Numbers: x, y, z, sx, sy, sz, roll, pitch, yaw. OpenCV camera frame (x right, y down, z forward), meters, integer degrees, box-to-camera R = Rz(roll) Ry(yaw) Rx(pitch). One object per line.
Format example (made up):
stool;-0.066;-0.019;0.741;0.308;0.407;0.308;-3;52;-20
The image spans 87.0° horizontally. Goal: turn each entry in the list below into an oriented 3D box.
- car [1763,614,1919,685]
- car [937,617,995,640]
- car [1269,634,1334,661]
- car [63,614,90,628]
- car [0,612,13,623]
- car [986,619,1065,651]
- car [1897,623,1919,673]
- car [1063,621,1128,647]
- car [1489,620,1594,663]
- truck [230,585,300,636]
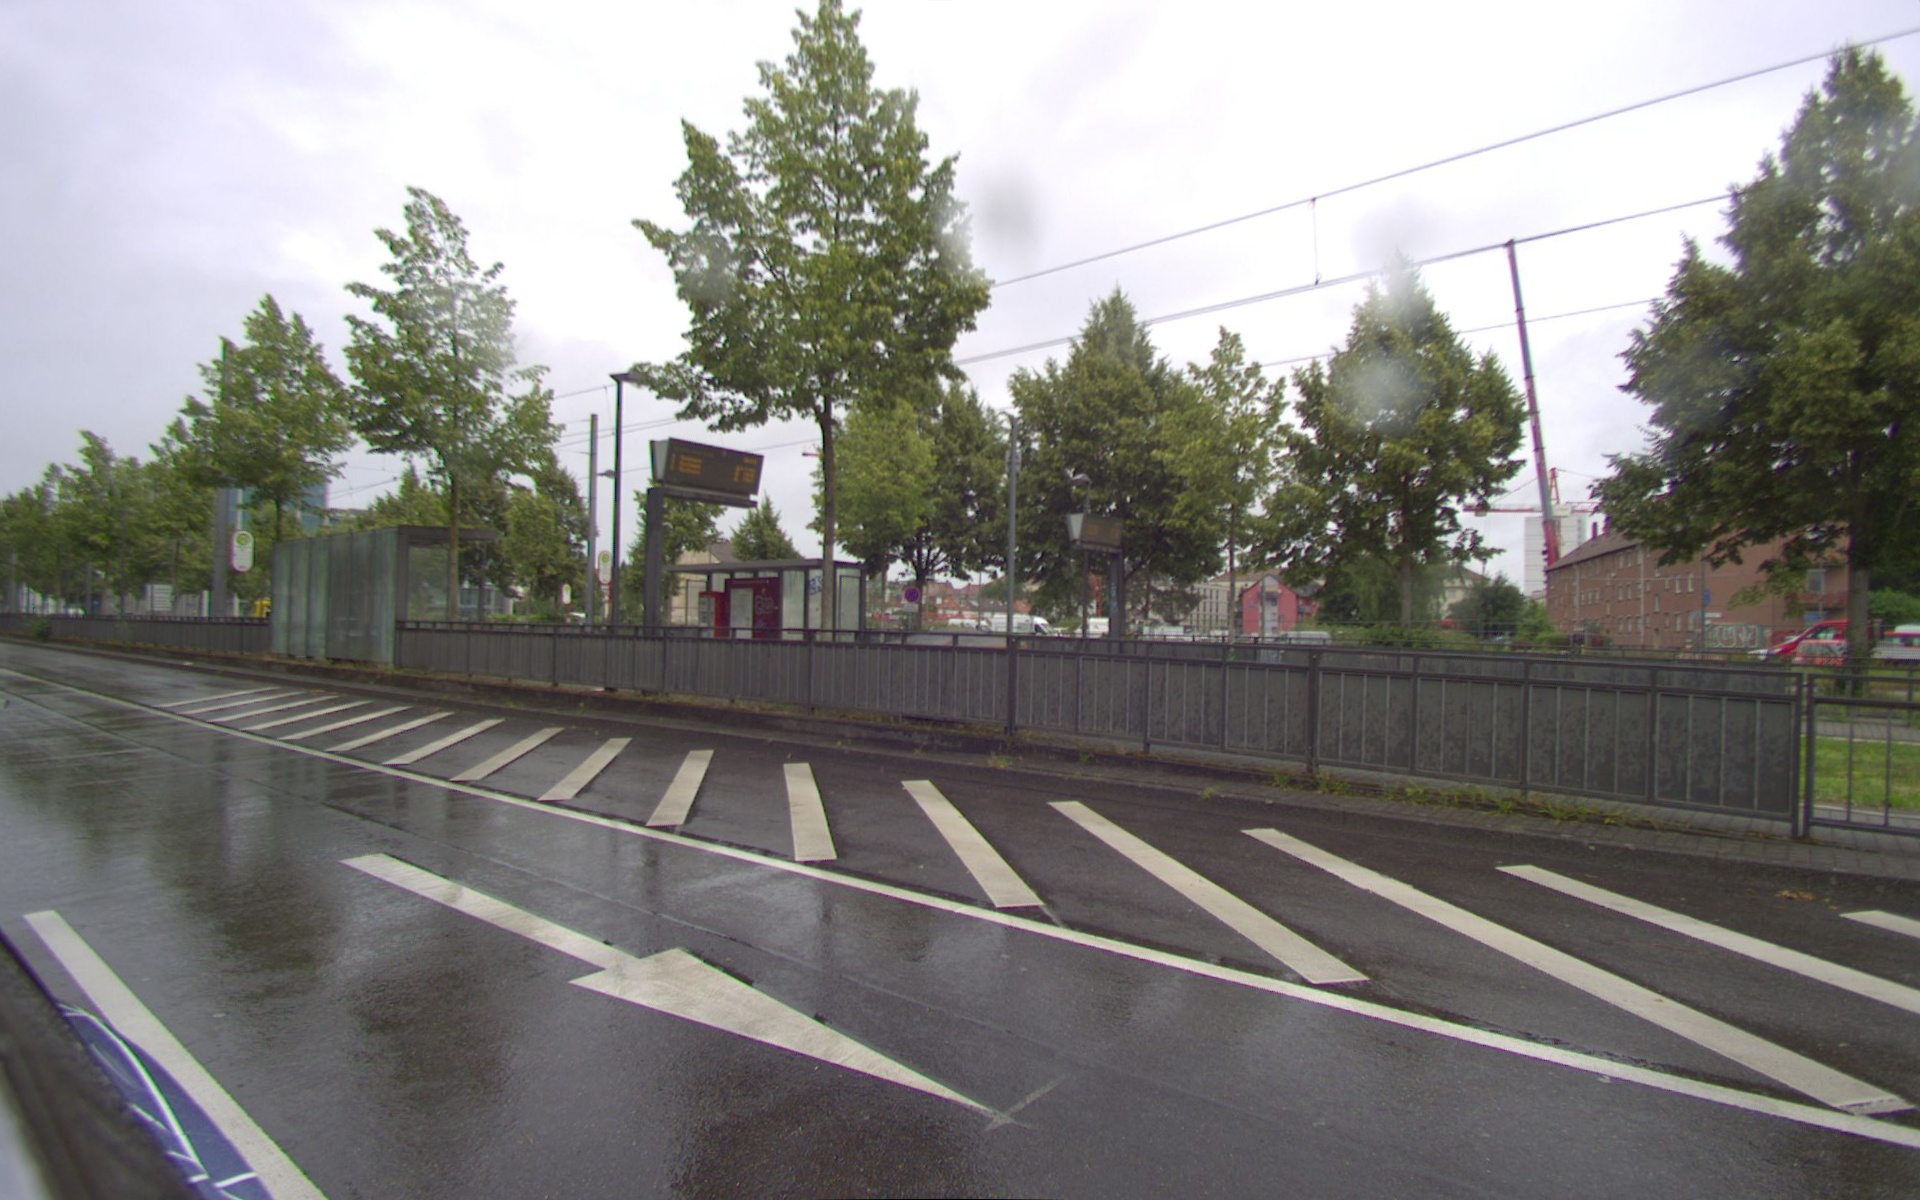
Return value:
car;33.502;1.769;36.802;1.597;2.489;6.500;2;-2;-39
car;0.621;2.987;108.317;6.123;2.323;1.978;0;0;32
car;26.279;3.655;77.891;4.415;1.891;1.855;0;0;34
car;-118.201;2.769;135.401;3.995;1.759;1.974;0;0;38
car;-155.186;2.822;163.971;3.995;1.759;1.974;0;0;38
car;5.509;2.888;85.595;6.735;2.480;1.975;0;0;37
car;45.946;2.169;44.972;1.597;2.296;6.114;2;-3;-37
car;11.825;2.970;88.709;5.412;2.067;1.976;0;0;37
car;35.889;2.521;62.539;5.482;2.471;1.976;0;0;36
truck;-54.833;0.754;79.717;9.184;3.806;2.657;0;0;43
